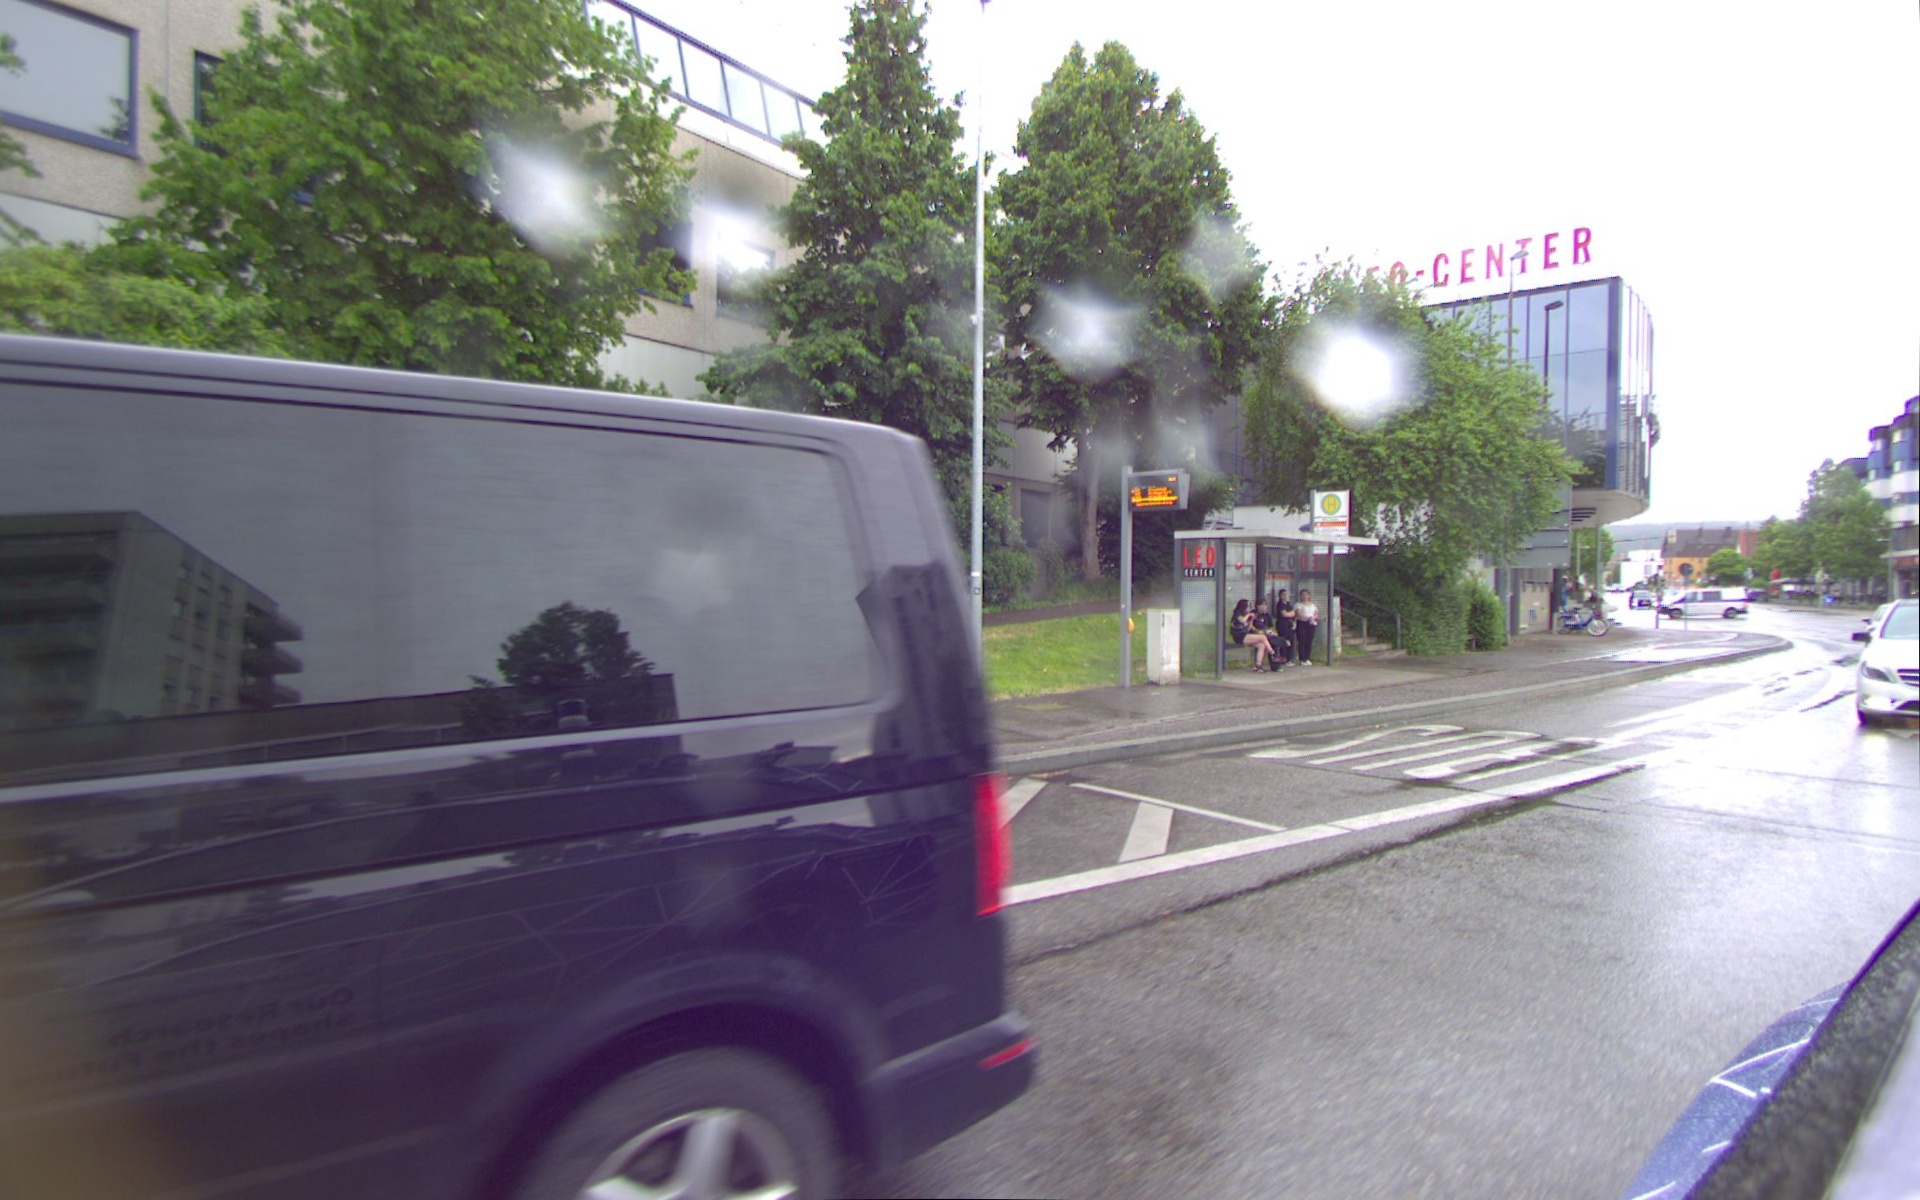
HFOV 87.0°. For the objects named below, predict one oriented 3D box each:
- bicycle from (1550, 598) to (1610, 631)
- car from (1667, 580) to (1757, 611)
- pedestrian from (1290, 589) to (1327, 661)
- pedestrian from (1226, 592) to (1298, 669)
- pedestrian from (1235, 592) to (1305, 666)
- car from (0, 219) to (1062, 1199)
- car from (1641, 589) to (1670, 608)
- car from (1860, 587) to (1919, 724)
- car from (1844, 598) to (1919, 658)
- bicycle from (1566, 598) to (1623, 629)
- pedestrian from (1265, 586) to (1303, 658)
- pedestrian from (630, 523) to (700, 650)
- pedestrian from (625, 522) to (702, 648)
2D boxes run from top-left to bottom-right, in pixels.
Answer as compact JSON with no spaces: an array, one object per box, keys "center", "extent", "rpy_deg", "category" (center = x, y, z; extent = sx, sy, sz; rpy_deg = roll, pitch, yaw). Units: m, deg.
[{"center":[23.189,0.536,37.876],"extent":[1.800,1.099,0.674],"rpy_deg":[3,-1,42],"category":"bicycle"},{"center":[50.005,-0.316,67.389],"extent":[4.556,2.039,1.980],"rpy_deg":[0,0,29],"category":"car"},{"center":[6.955,0.495,20.207],"extent":[0.532,1.382,0.412],"rpy_deg":[2,1,-4],"category":"pedestrian"},{"center":[5.452,0.535,18.287],"extent":[1.029,1.297,0.681],"rpy_deg":[3,2,42],"category":"pedestrian"},{"center":[5.797,0.529,18.963],"extent":[1.029,1.297,0.681],"rpy_deg":[3,2,42],"category":"pedestrian"},{"center":[-2.194,0.470,1.862],"extent":[4.498,1.918,2.003],"rpy_deg":[0,0,-33],"category":"car"},{"center":[59.424,-0.126,86.537],"extent":[1.887,1.545,3.954],"rpy_deg":[0,0,33],"category":"car"},{"center":[12.875,0.629,12.631],"extent":[4.248,1.569,1.762],"rpy_deg":[0,1,-38],"category":"car"},{"center":[25.141,0.708,27.196],"extent":[3.773,1.509,1.631],"rpy_deg":[0,0,-41],"category":"car"},{"center":[25.165,0.528,40.172],"extent":[1.829,1.124,0.684],"rpy_deg":[2,2,42],"category":"bicycle"},{"center":[6.366,0.433,19.881],"extent":[0.532,1.382,0.412],"rpy_deg":[2,1,-5],"category":"pedestrian"},{"center":[-4.361,-0.209,14.978],"extent":[0.671,1.819,0.664],"rpy_deg":[0,3,39],"category":"pedestrian"},{"center":[-4.463,-0.219,15.222],"extent":[0.846,1.818,0.785],"rpy_deg":[-1,0,41],"category":"pedestrian"}]
